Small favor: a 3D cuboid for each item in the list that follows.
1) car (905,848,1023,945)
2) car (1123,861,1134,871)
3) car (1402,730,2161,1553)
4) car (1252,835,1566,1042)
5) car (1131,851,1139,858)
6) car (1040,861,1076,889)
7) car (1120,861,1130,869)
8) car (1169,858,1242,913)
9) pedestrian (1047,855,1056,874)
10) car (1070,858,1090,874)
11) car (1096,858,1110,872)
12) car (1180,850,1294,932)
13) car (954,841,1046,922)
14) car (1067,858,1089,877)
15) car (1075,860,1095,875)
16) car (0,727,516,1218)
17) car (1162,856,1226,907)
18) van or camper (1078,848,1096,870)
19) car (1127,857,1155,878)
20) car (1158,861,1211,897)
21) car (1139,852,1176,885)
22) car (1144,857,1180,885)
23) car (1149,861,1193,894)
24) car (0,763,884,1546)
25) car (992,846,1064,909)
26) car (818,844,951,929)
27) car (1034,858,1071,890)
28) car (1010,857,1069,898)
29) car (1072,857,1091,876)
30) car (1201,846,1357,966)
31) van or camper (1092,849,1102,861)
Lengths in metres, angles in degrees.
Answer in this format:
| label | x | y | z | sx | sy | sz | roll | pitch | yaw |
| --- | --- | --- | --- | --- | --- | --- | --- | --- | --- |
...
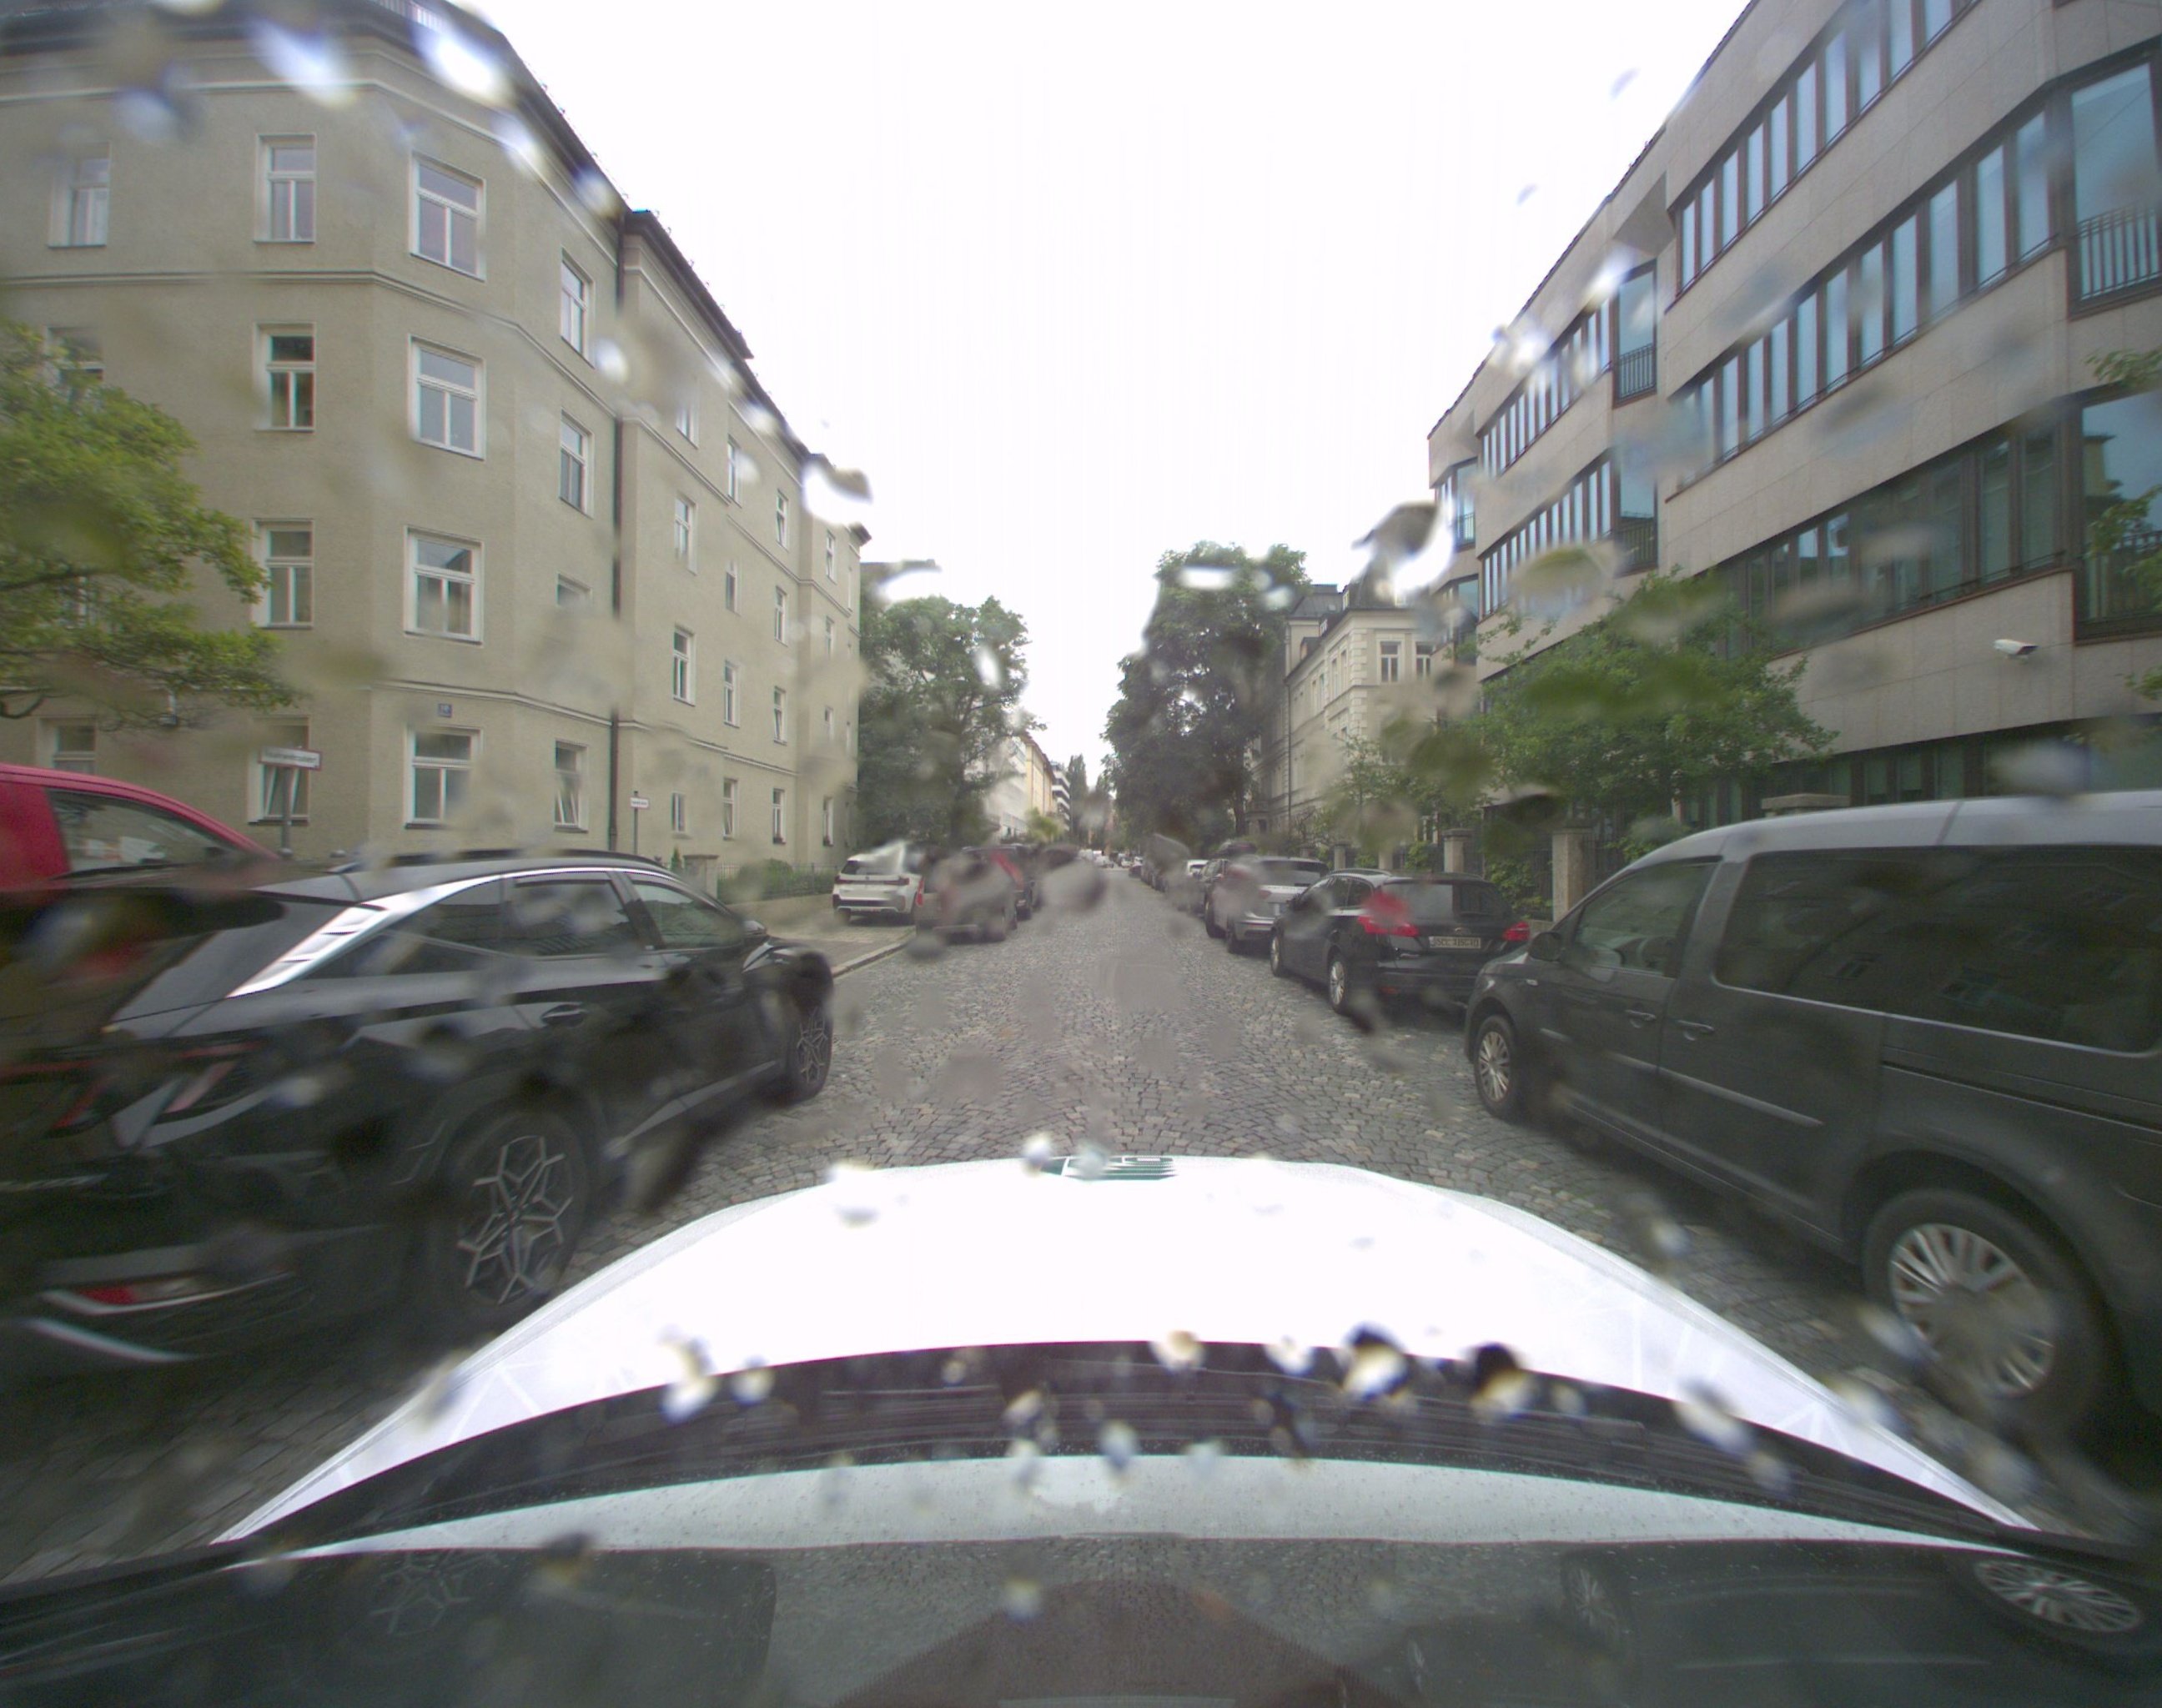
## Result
| label | x | y | z | sx | sy | sz | roll | pitch | yaw |
| --- | --- | --- | --- | --- | --- | --- | --- | --- | --- |
| car | -2.329 | 0.803 | 17.364 | 1.859 | 1.735 | 4.402 | -2 | 0 | -1 |
| car | 7.391 | 1.839 | 127.176 | 1.783 | 1.520 | 4.002 | 0 | -1 | 3 |
| car | 3.310 | 0.694 | 3.809 | 1.782 | 1.796 | 4.509 | 4 | 0 | 1 |
| car | 3.457 | 0.781 | 9.700 | 1.866 | 1.735 | 4.659 | 4 | 0 | 1 |
| car | 15.226 | 0.104 | 229.988 | 1.985 | 2.014 | 4.002 | 1 | -1 | 3 |
| car | -1.288 | 1.172 | 46.580 | 1.777 | 1.417 | 4.497 | -3 | 0 | 1 |
| car | 7.983 | 1.999 | 147.681 | 1.783 | 1.520 | 4.002 | 0 | -1 | 3 |
| car | 3.830 | 0.916 | 25.788 | 1.865 | 1.490 | 4.621 | 3 | 0 | 4 |
| pedestrian | -2.981 | 1.046 | 81.141 | 0.789 | 1.917 | 0.759 | 1 | -1 | 1 |
| car | -0.107 | 1.159 | 79.490 | 1.867 | 1.451 | 4.207 | -1 | 0 | 0 |
| car | 3.323 | 1.595 | 121.388 | 1.985 | 2.014 | 4.002 | 0 | -1 | 3 |
| car | 3.786 | 0.851 | 20.653 | 1.867 | 1.735 | 4.746 | 4 | 0 | 0 |
| car | -2.060 | 0.688 | 22.173 | 1.866 | 1.917 | 4.828 | -2 | -1 | 1 |
| car | -0.283 | 1.157 | 73.287 | 1.867 | 1.580 | 4.254 | -2 | 0 | 0 |
| car | 0.486 | 1.493 | 91.255 | 1.864 | 1.580 | 4.214 | 2 | -1 | 5 |
| car | -5.227 | 0.441 | 3.315 | 1.987 | 1.931 | 5.331 | 2 | 0 | 1 |
| car | 4.183 | 0.981 | 30.761 | 1.866 | 1.670 | 4.659 | 3 | 0 | 2 |
| van or camper | 0.803 | 0.655 | 106.213 | 1.985 | 2.652 | 4.002 | -2 | -1 | 2 |
| car | 4.813 | 1.046 | 65.529 | 1.867 | 1.503 | 4.510 | 3 | 0 | 0 |
| car | 4.556 | 1.058 | 36.367 | 1.690 | 1.440 | 4.058 | 3 | 0 | -2 |
| car | 4.952 | 0.912 | 53.348 | 1.867 | 1.928 | 5.163 | 3 | 0 | 0 |
| car | 4.718 | 0.984 | 47.849 | 1.829 | 1.490 | 4.424 | 3 | 0 | 3 |
| car | 4.451 | 1.135 | 40.764 | 1.707 | 1.472 | 4.269 | 3 | 0 | 1 |
| car | -2.709 | 0.745 | 4.243 | 1.909 | 1.735 | 4.758 | -4 | -1 | 3 |
| car | -1.758 | 0.789 | 28.694 | 1.986 | 1.917 | 5.178 | -3 | -1 | 1 |
| car | -4.609 | 0.719 | 19.886 | 1.938 | 1.735 | 4.658 | 3 | 0 | 1 |
| car | -1.341 | 0.943 | 39.391 | 1.657 | 1.444 | 4.169 | -1 | -1 | -1 |
| car | -1.661 | 0.940 | 34.368 | 1.970 | 1.561 | 5.021 | -2 | -1 | 3 |
| car | 0.080 | 1.298 | 85.757 | 1.866 | 1.776 | 4.123 | -3 | -1 | 1 |
| car | 3.356 | 0.808 | 14.767 | 1.865 | 1.735 | 4.896 | 2 | -1 | 3 |
| van or camper | 3.824 | 0.203 | 190.774 | 2.247 | 2.742 | 5.100 | 1 | -1 | 2 |
